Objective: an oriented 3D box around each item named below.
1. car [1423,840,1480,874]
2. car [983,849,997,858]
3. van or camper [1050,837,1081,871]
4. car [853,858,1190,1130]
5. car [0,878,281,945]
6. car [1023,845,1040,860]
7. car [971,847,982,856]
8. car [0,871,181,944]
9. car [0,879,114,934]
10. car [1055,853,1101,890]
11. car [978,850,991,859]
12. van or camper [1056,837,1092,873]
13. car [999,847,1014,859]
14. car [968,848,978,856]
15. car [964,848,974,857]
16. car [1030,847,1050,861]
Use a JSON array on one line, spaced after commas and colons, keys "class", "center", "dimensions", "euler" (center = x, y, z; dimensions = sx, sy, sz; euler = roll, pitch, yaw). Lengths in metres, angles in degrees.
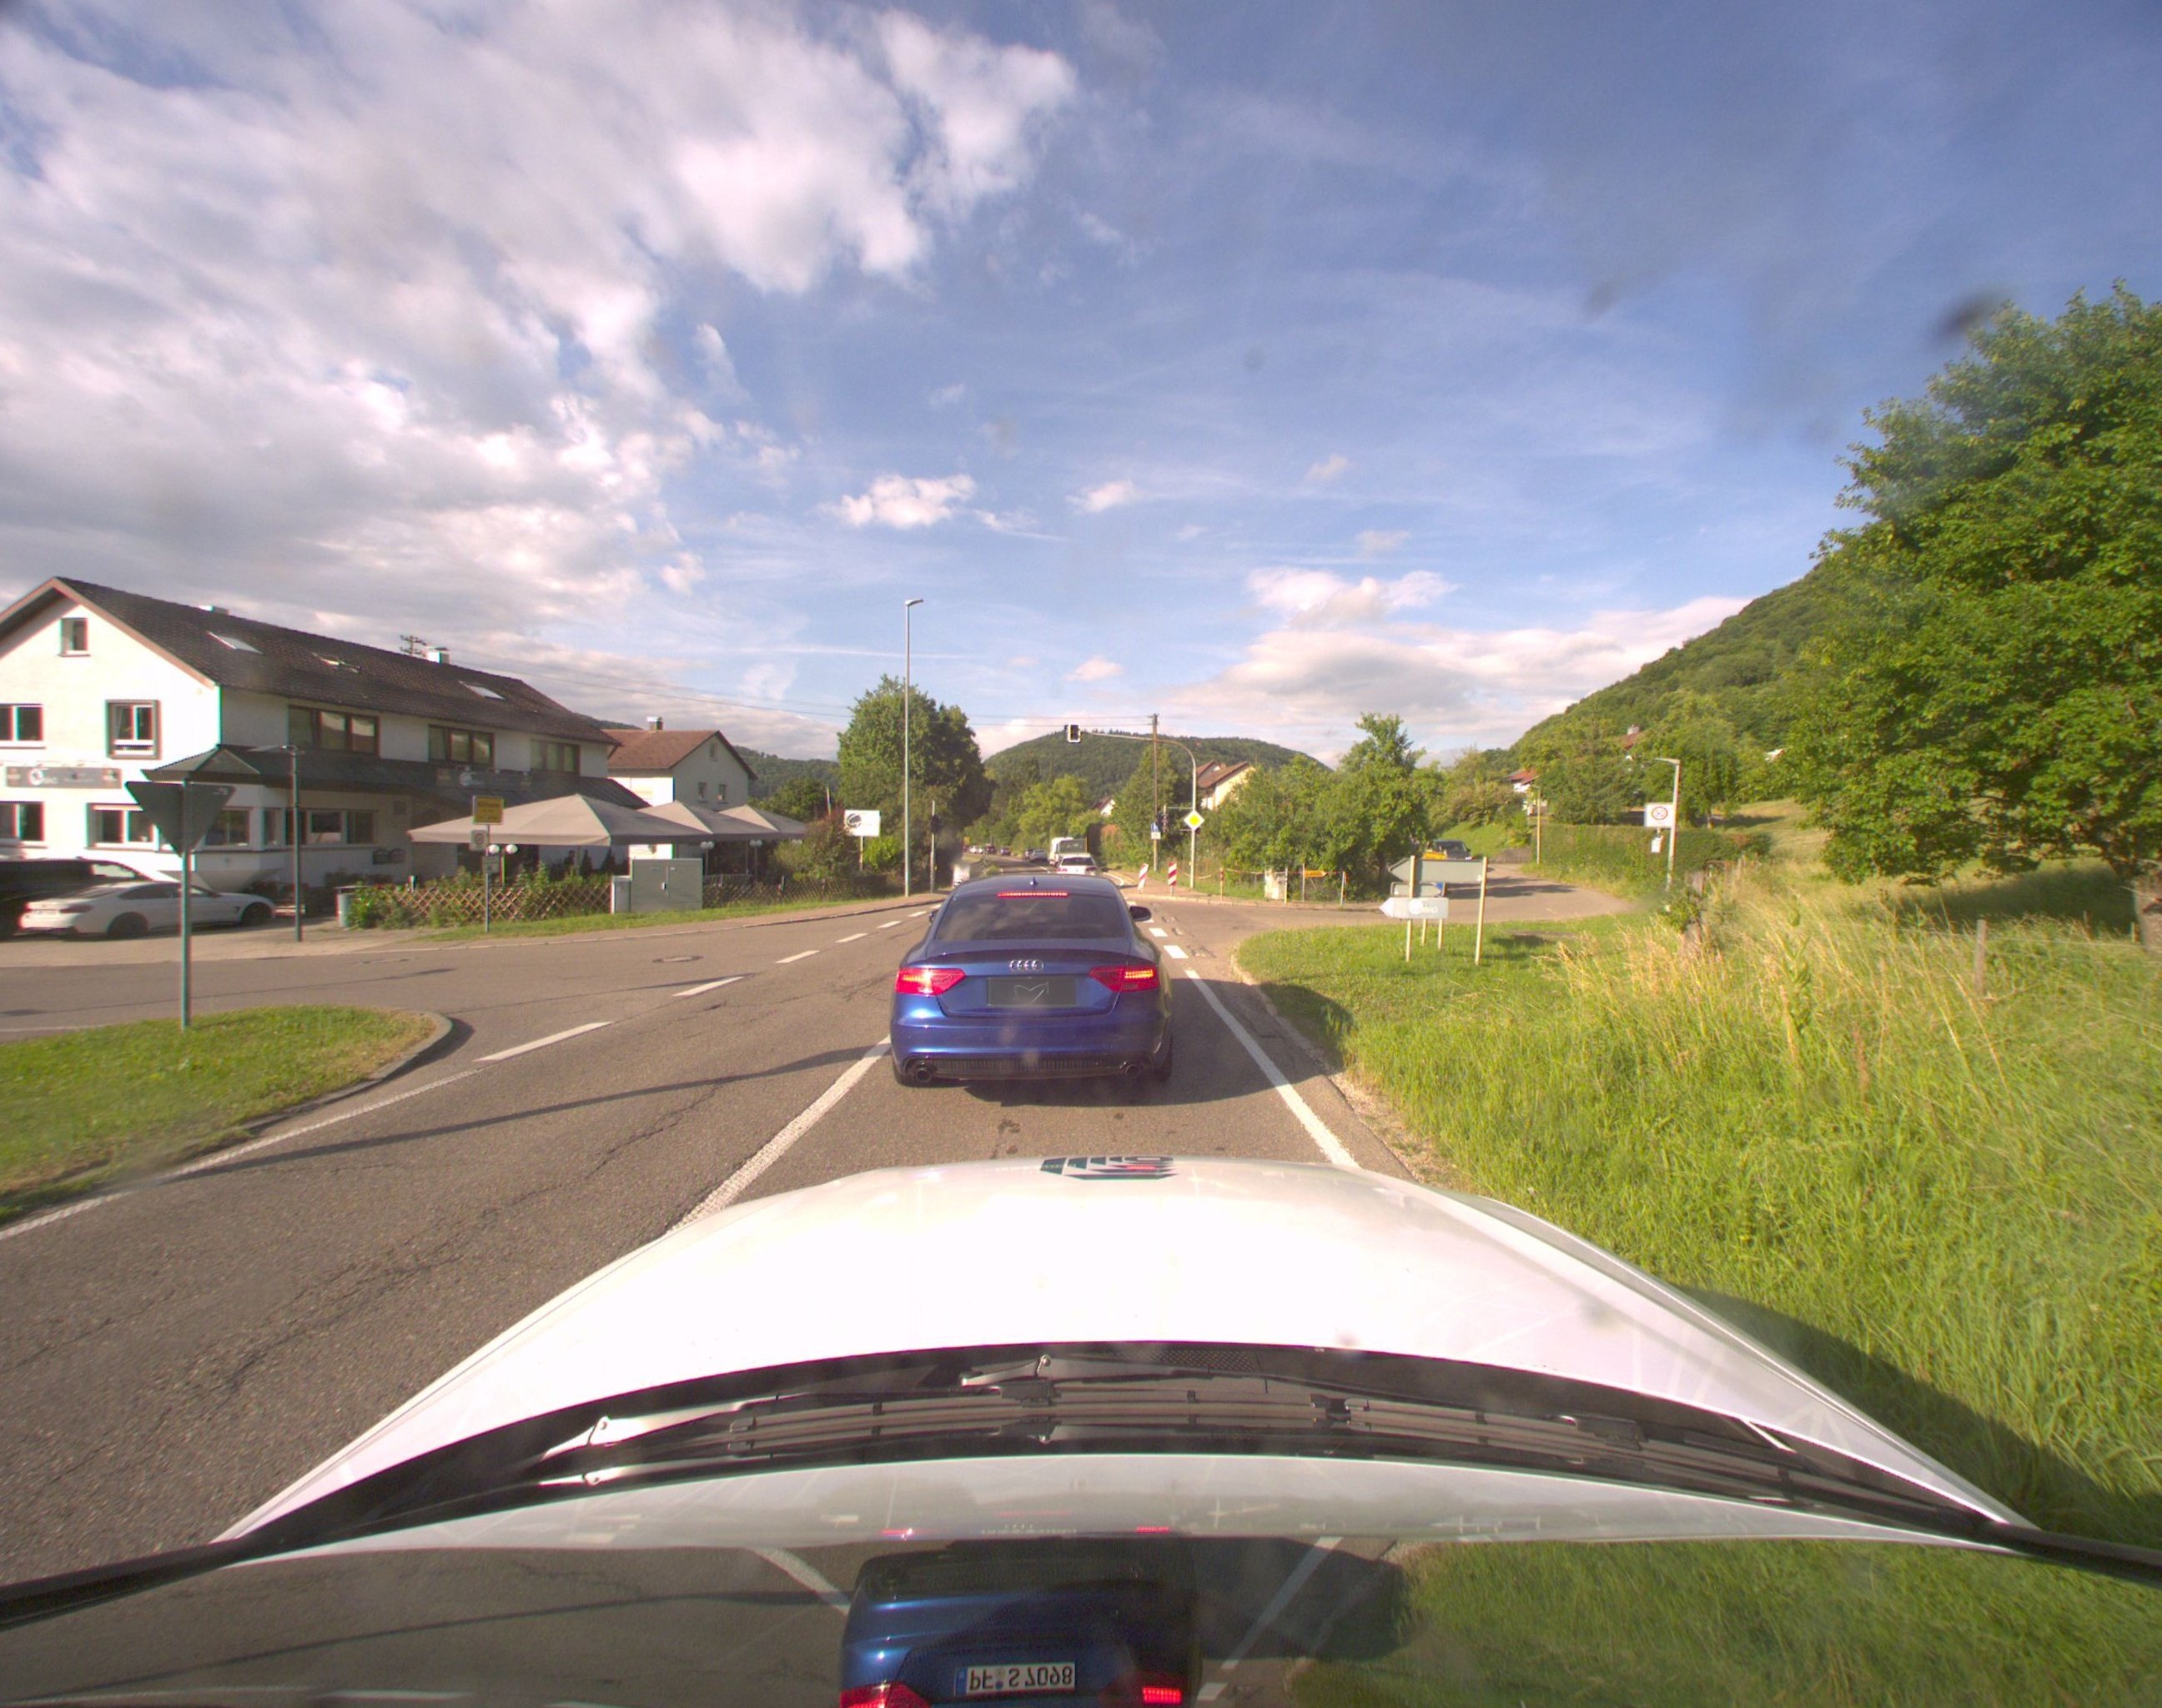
[{"class": "car", "center": [21.622, 0.115, 47.739], "dimensions": [1.980, 1.876, 4.887], "euler": [1, 1, 12]}, {"class": "car", "center": [-16.586, -0.073, 148.690], "dimensions": [2.043, 1.684, 3.982], "euler": [-1, 1, -13]}, {"class": "van or camper", "center": [-1.405, -0.019, 72.242], "dimensions": [2.410, 2.904, 6.122], "euler": [-1, 1, -4]}, {"class": "car", "center": [-0.315, 0.782, 6.615], "dimensions": [1.824, 1.409, 4.226], "euler": [-2, 0, 0]}, {"class": "car", "center": [-24.647, 1.438, 21.655], "dimensions": [1.984, 1.389, 4.582], "euler": [-2, 0, 5]}, {"class": "car", "center": [-6.377, -0.205, 105.274], "dimensions": [1.796, 1.794, 3.987], "euler": [-2, 0, -10]}, {"class": "car", "center": [-21.340, -0.490, 165.986], "dimensions": [1.751, 1.783, 3.982], "euler": [-2, 0, -13]}, {"class": "car", "center": [-27.342, 1.371, 21.435], "dimensions": [1.984, 1.685, 4.582], "euler": [-2, 0, 5]}, {"class": "car", "center": [-30.403, 1.501, 22.389], "dimensions": [1.984, 1.389, 4.582], "euler": [-2, 0, 5]}, {"class": "car", "center": [-0.104, 0.693, 33.914], "dimensions": [1.765, 1.415, 4.174], "euler": [1, 0, 0]}, {"class": "car", "center": [-18.611, 0.061, 157.321], "dimensions": [1.946, 1.684, 3.979], "euler": [-2, 0, -15]}, {"class": "van or camper", "center": [-0.558, 0.030, 57.641], "dimensions": [2.176, 2.385, 5.362], "euler": [-1, 1, -4]}, {"class": "car", "center": [-12.221, -0.165, 133.233], "dimensions": [1.995, 2.013, 3.983], "euler": [-1, 1, -12]}, {"class": "car", "center": [-22.814, -0.406, 172.141], "dimensions": [1.775, 1.783, 3.981], "euler": [-2, 0, -14]}, {"class": "car", "center": [-24.651, -0.320, 178.534], "dimensions": [1.774, 1.783, 3.982], "euler": [-2, 0, -13]}, {"class": "car", "center": [-4.769, -0.039, 94.201], "dimensions": [1.819, 1.552, 3.987], "euler": [-1, 1, -10]}]
